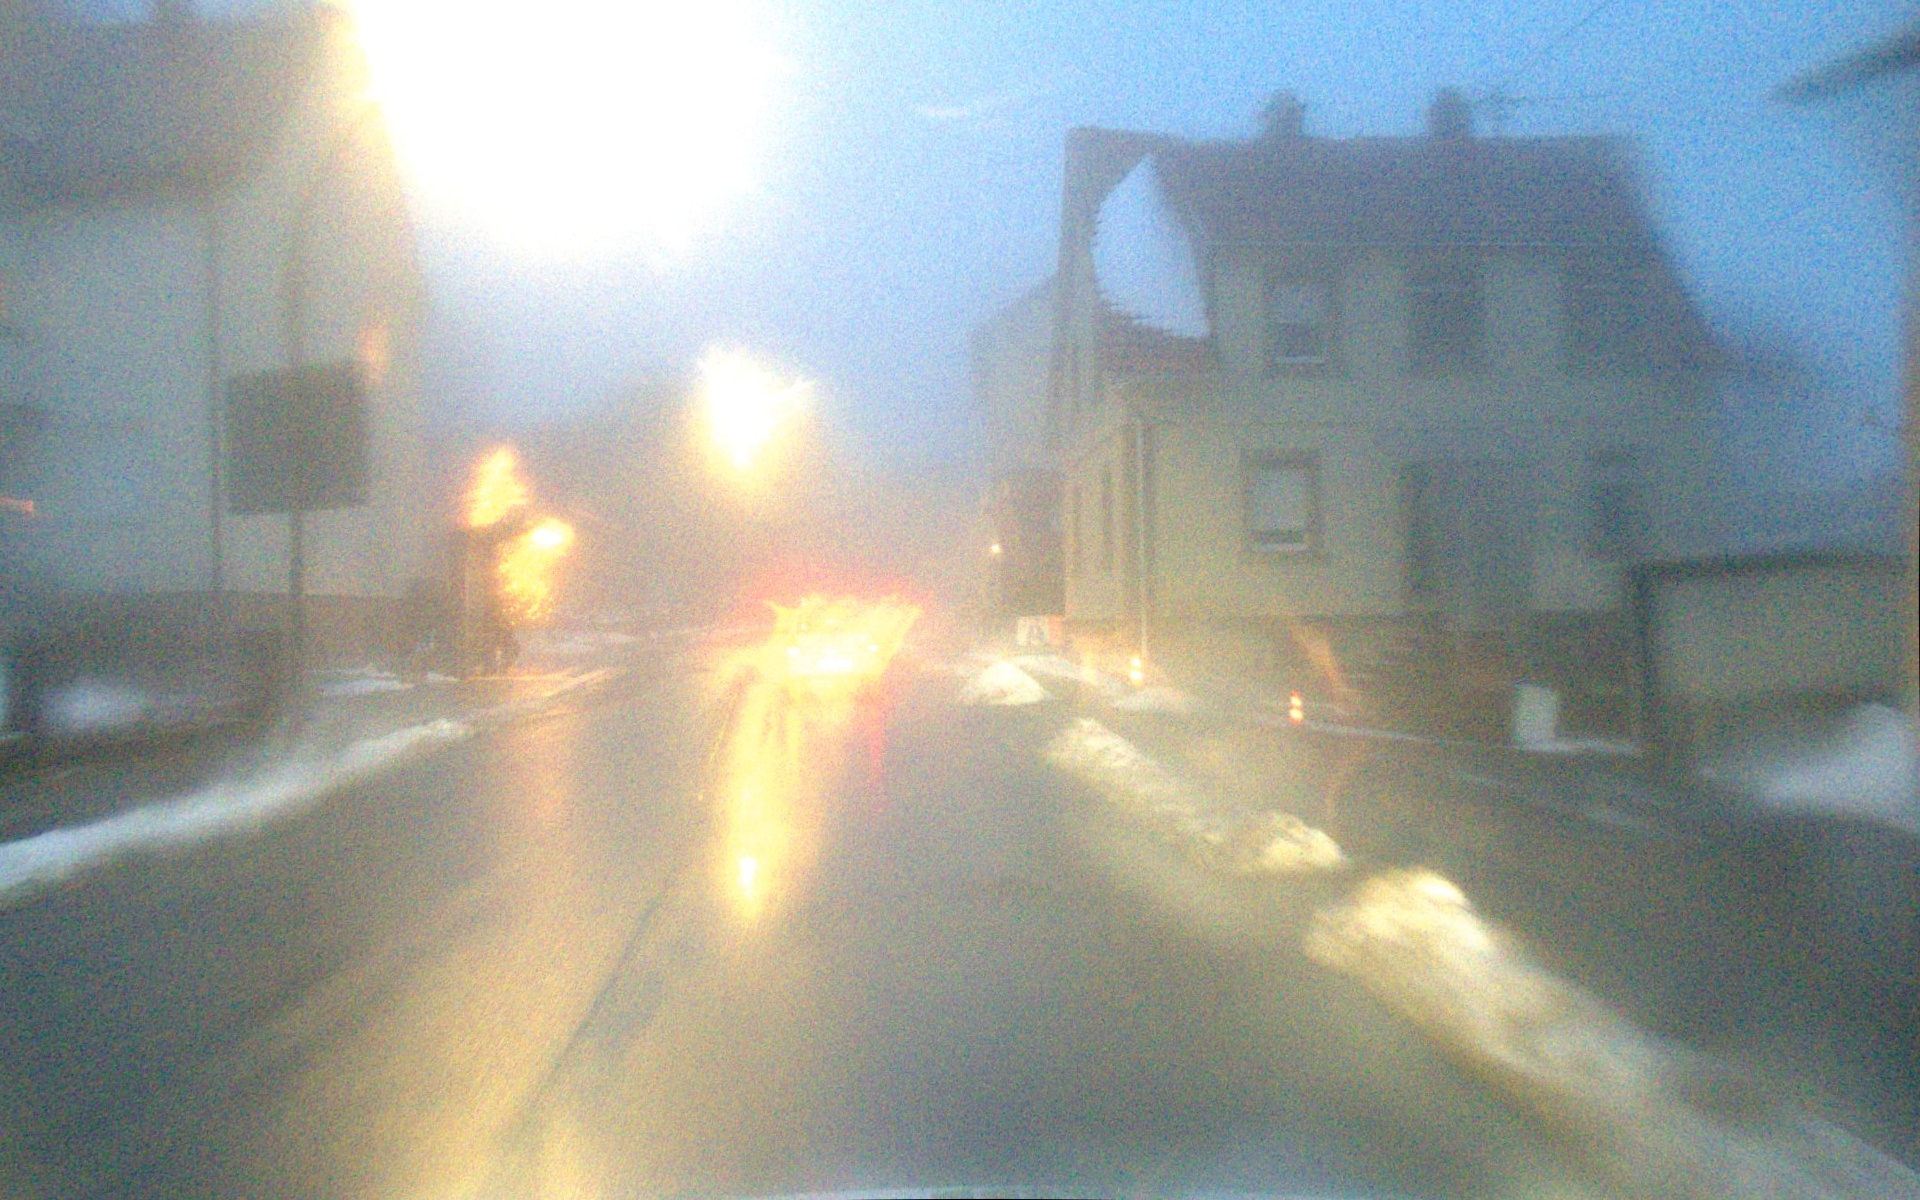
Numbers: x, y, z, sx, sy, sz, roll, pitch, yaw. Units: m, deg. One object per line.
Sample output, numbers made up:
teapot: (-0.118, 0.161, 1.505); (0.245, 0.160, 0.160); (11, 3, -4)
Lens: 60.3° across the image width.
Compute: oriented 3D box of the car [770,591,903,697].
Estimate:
car: (-1.940, 0.760, 27.108); (1.953, 1.534, 3.997); (3, -3, -2)

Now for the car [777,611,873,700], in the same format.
car: (-3.352, 1.451, 41.792); (1.952, 2.049, 3.999); (2, -3, 1)
